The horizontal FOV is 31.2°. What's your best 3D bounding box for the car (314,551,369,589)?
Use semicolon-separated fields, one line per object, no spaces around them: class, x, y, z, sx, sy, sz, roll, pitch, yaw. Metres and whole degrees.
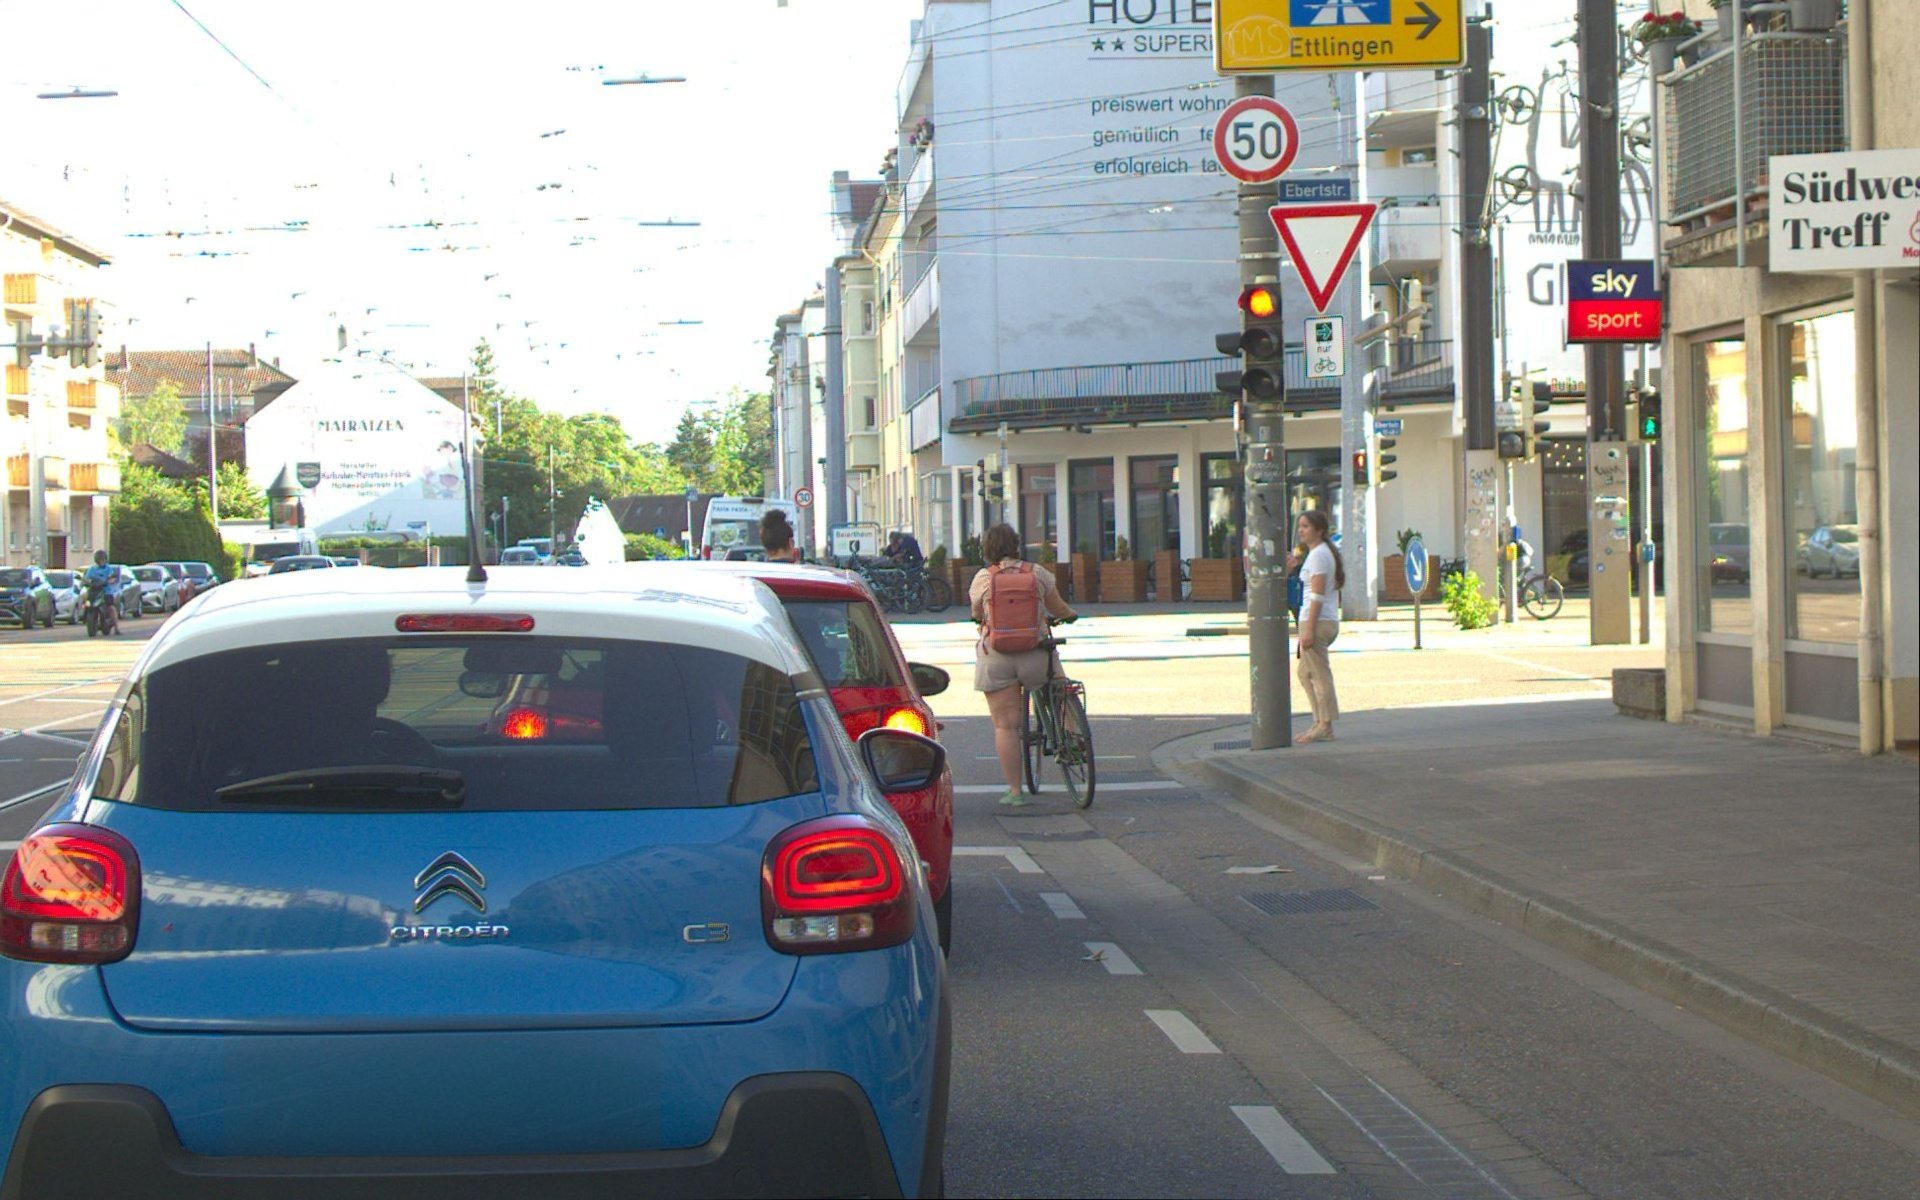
car;-25.976;-1.272;144.571;1.950;1.514;4.001;-1;1;-6

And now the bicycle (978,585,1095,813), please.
bicycle;0.446;0.562;20.644;0.613;1.260;1.911;-1;1;-1

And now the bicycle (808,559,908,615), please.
bicycle;-2.027;-0.269;68.315;1.904;1.061;0.642;-1;1;-7

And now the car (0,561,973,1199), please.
car;-0.961;0.671;7.377;1.680;1.457;4.001;0;1;-4

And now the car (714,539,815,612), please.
car;-3.883;-0.510;67.807;1.786;1.354;3.915;-1;1;-6

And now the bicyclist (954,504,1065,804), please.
bicyclist;0.288;0.306;20.601;0.600;1.740;1.084;-1;1;-1

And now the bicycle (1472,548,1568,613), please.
bicycle;9.563;-0.333;58.701;1.492;1.087;0.604;0;1;37

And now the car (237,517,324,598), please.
car;-23.662;-1.497;119.938;2.493;2.703;5.839;-1;1;-7

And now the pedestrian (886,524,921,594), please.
pedestrian;-1.154;-0.840;70.260;0.525;1.415;0.546;-1;1;20

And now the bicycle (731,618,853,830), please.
bicycle;-0.979;0.682;19.751;0.616;1.099;1.886;-1;1;-5

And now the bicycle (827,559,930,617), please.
bicycle;-1.559;-0.238;65.816;1.904;1.061;0.642;-1;1;-7

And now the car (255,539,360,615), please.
car;-14.906;-0.556;78.749;2.004;1.622;5.054;-1;1;-7

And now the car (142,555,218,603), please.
car;-26.069;-0.715;115.001;1.950;1.514;4.001;-1;1;-6

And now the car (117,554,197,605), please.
car;-25.359;-0.666;108.659;1.950;1.514;4.001;-1;1;-6

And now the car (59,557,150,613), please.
car;-24.459;-0.453;98.376;1.950;1.514;4.001;-1;1;-6

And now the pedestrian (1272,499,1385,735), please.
pedestrian;2.599;0.111;24.311;0.751;1.629;0.740;-1;1;6

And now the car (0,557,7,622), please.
car;-23.321;-0.190;79.227;1.950;1.514;4.001;-1;1;-6

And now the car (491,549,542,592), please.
car;-22.044;-1.490;170.843;2.338;2.032;5.051;-1;1;-6

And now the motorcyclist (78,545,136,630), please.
motorcyclist;-16.676;-0.248;67.215;0.991;1.625;0.739;-1;1;-9

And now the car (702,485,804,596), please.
car;-4.433;-1.272;73.243;2.079;2.262;5.652;0;1;-4

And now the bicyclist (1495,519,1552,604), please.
bicyclist;9.620;-0.663;58.686;0.728;1.429;0.604;0;1;37

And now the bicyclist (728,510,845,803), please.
bicyclist;-0.997;0.309;19.640;0.616;1.624;0.760;-1;1;-4

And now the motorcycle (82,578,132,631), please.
motorcycle;-16.695;0.077;67.289;0.751;0.973;2.098;-1;1;-9

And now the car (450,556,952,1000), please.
car;-1.008;0.579;13.587;1.680;1.457;4.001;0;1;-4

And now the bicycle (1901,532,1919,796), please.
bicycle;4.912;0.315;15.755;0.640;1.260;1.911;-1;1;-1

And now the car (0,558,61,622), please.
car;-23.786;-0.263;85.892;1.950;1.514;4.001;-1;1;-6

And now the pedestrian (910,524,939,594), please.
pedestrian;-0.721;-0.843;70.009;0.467;1.415;0.527;-1;1;-13

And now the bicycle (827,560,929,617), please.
bicycle;-1.608;-0.231;67.122;1.904;1.061;0.642;-1;1;-7

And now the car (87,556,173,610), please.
car;-24.926;-0.536;103.380;1.950;1.514;4.001;-1;1;-6

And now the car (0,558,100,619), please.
car;-24.307;-0.331;91.949;1.950;1.514;4.001;-1;1;-6
